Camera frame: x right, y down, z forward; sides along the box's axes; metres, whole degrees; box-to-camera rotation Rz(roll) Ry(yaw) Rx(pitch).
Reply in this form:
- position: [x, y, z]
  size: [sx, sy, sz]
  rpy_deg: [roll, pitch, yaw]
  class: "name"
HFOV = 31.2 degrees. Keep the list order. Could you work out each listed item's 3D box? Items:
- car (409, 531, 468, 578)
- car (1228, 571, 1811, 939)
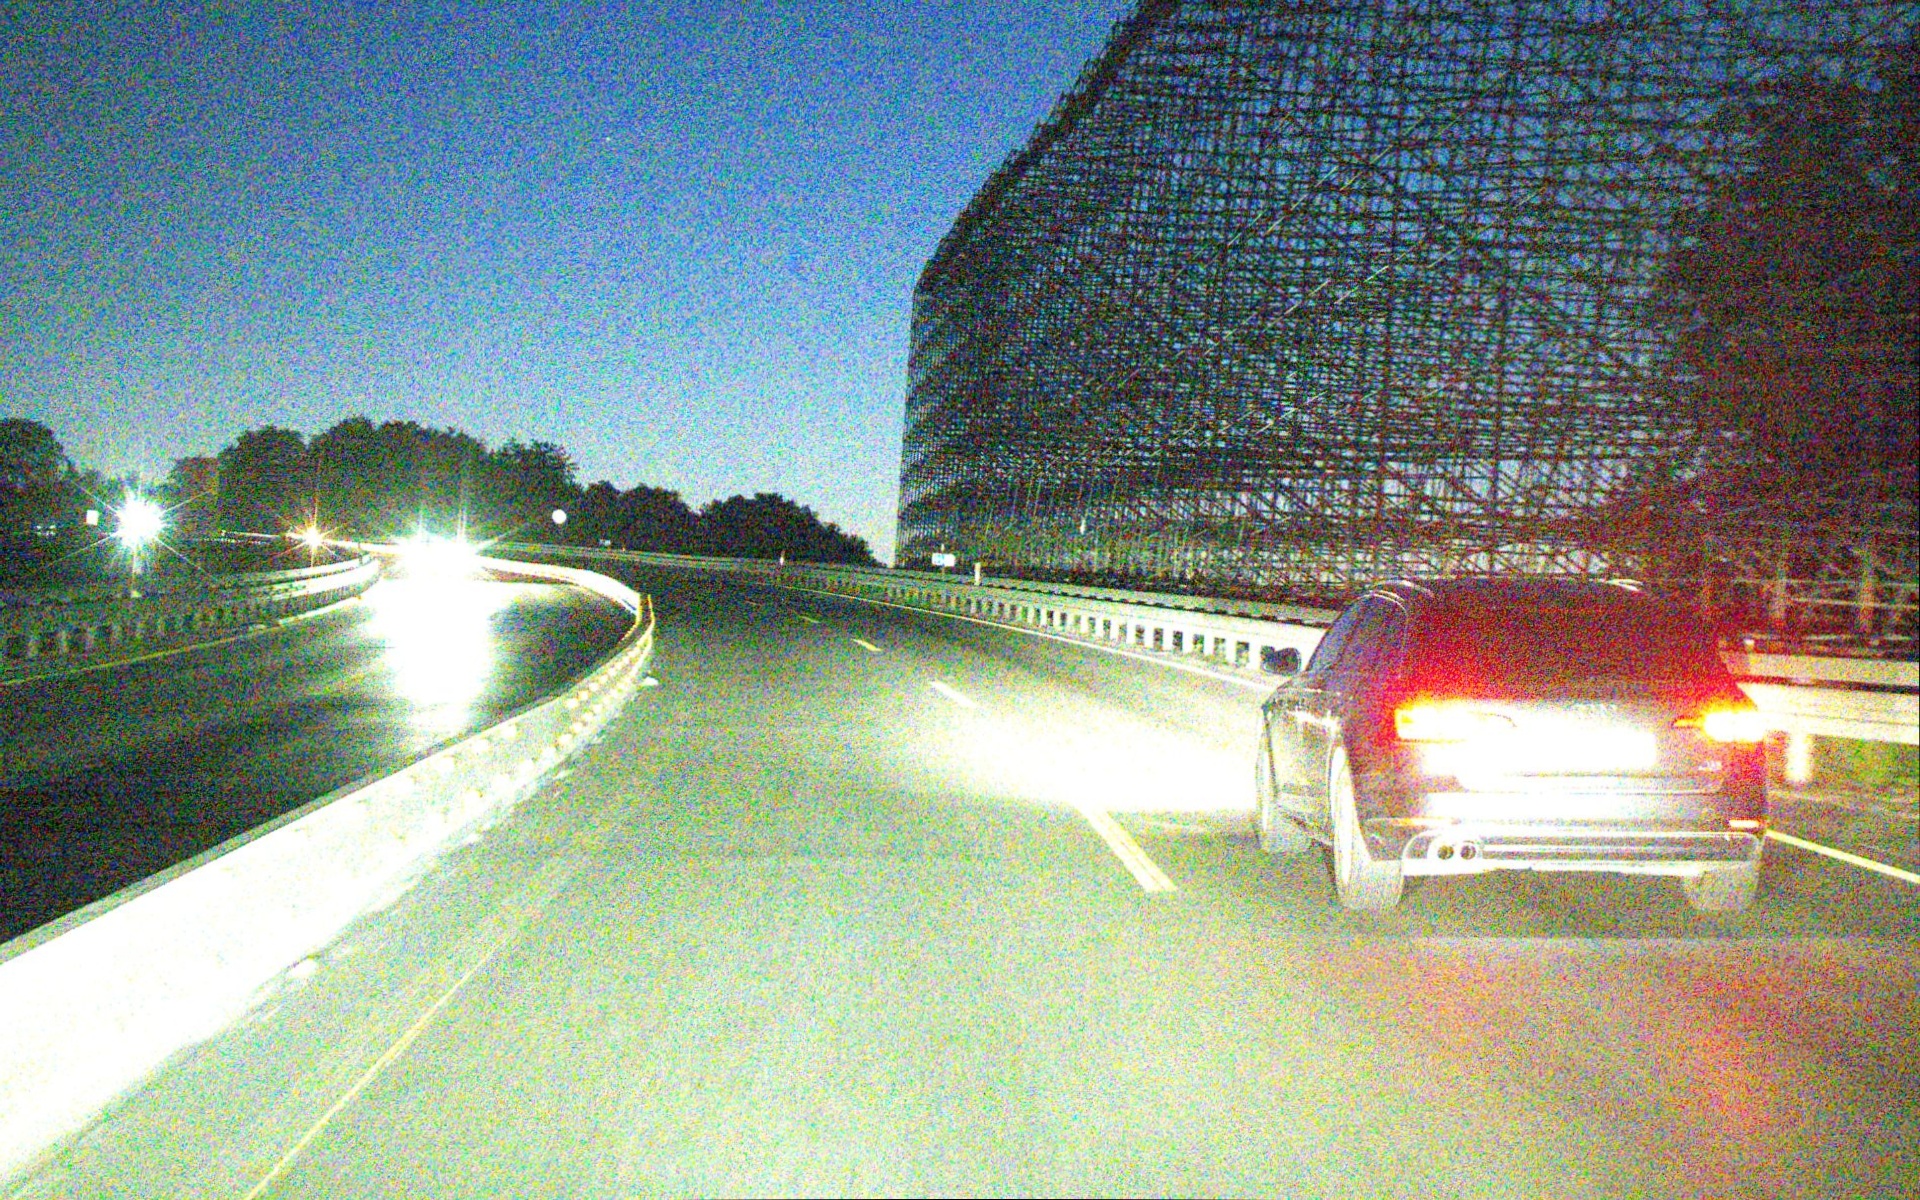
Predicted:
- position: [-18.698, -1.611, 123.145]
  size: [2.012, 1.634, 4.864]
  rpy_deg: [0, 0, -10]
  class: "car"
- position: [2.425, 0.598, 16.152]
  size: [1.808, 1.422, 4.875]
  rpy_deg: [0, 1, -2]
  class: "car"
